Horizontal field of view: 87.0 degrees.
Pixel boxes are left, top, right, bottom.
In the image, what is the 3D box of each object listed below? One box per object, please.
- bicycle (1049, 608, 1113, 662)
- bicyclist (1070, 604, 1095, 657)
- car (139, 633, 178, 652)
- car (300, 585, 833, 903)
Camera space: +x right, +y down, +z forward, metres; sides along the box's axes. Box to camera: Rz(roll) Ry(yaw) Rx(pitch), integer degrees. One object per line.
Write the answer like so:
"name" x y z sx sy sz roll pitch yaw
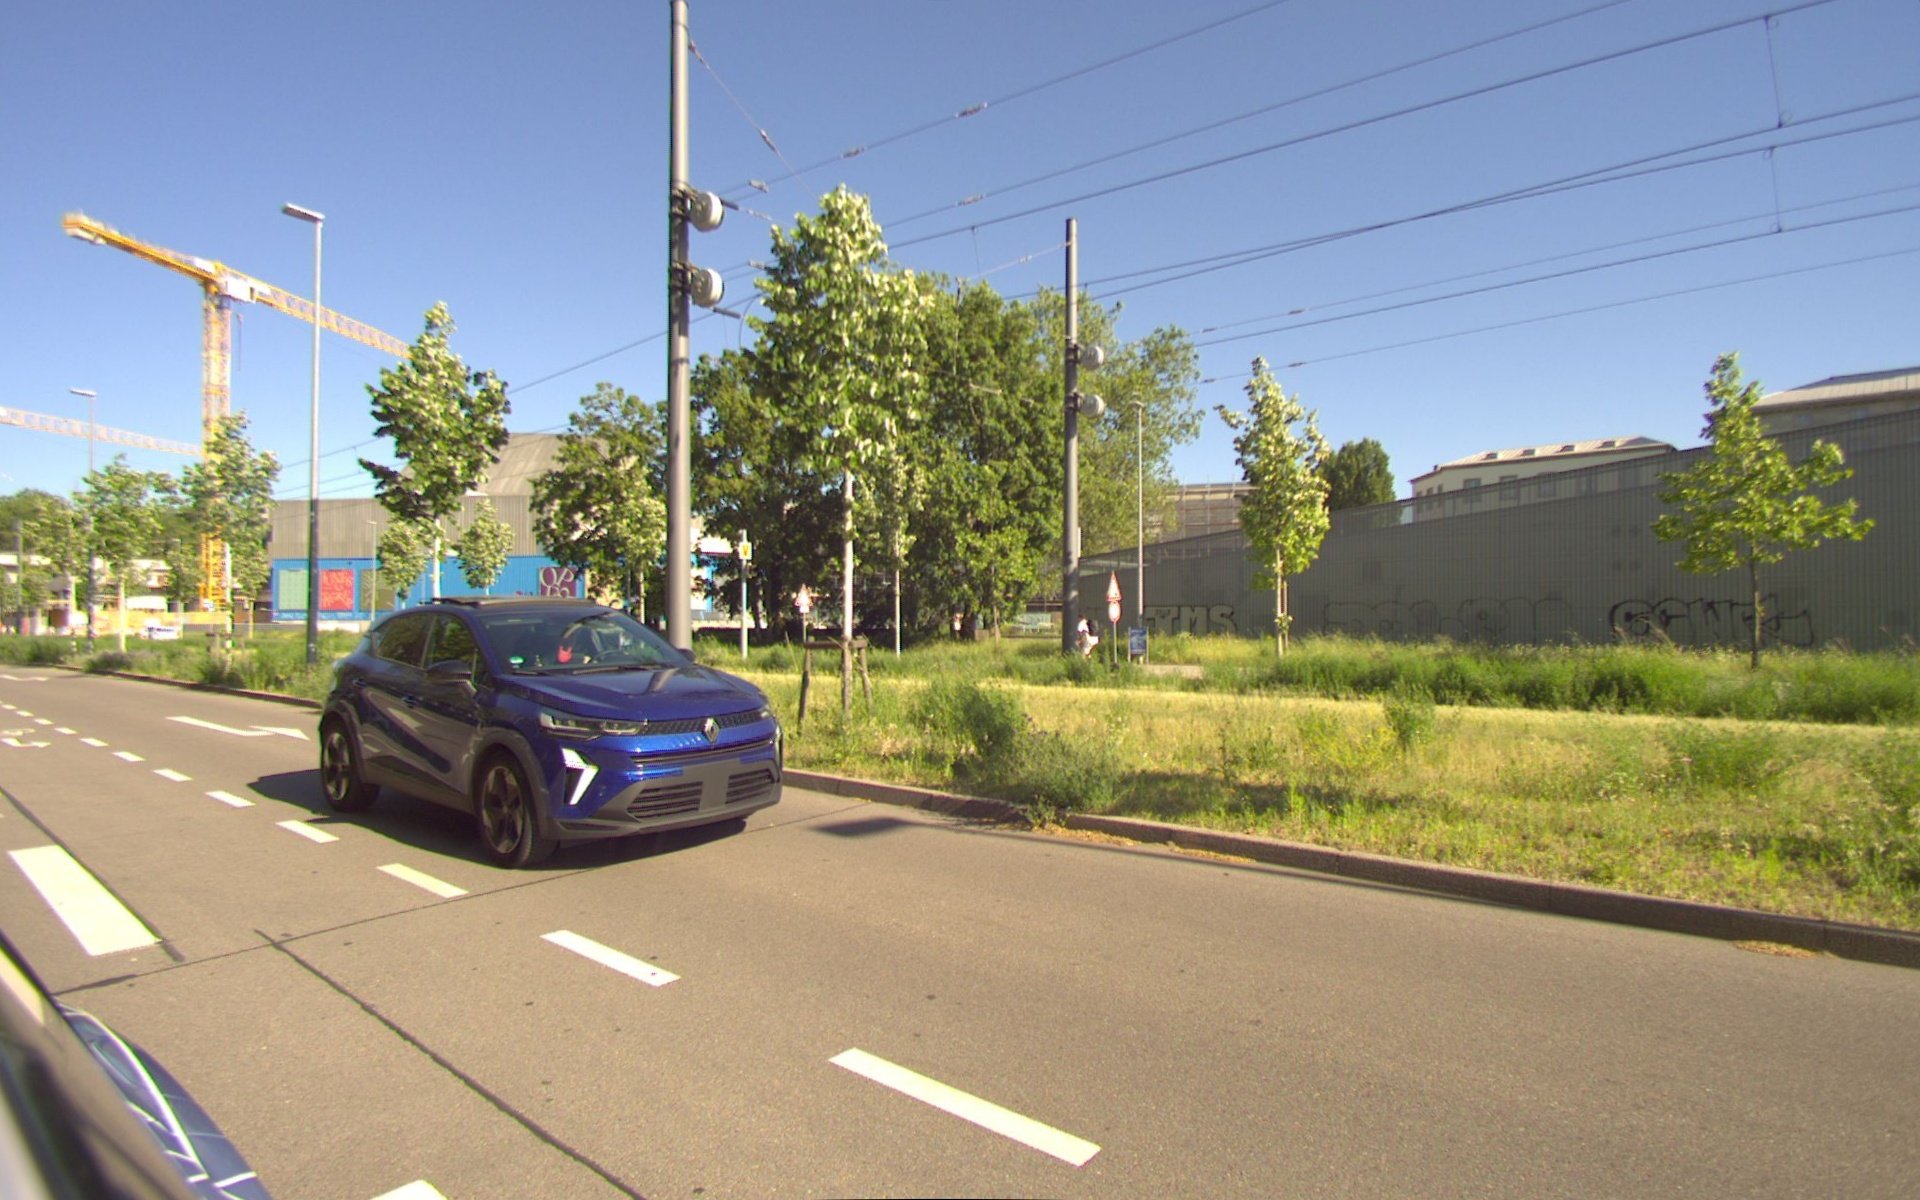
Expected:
"bicycle" 3.374 0.969 28.322 1.912 1.466 0.356 -2 -2 41
"bicyclist" 3.432 0.844 28.264 0.539 1.465 0.390 -1 0 40
"car" -61.818 3.247 78.042 3.829 1.409 1.616 -2 -2 39
"car" -2.974 0.777 7.197 4.148 1.635 1.727 -2 -1 40
